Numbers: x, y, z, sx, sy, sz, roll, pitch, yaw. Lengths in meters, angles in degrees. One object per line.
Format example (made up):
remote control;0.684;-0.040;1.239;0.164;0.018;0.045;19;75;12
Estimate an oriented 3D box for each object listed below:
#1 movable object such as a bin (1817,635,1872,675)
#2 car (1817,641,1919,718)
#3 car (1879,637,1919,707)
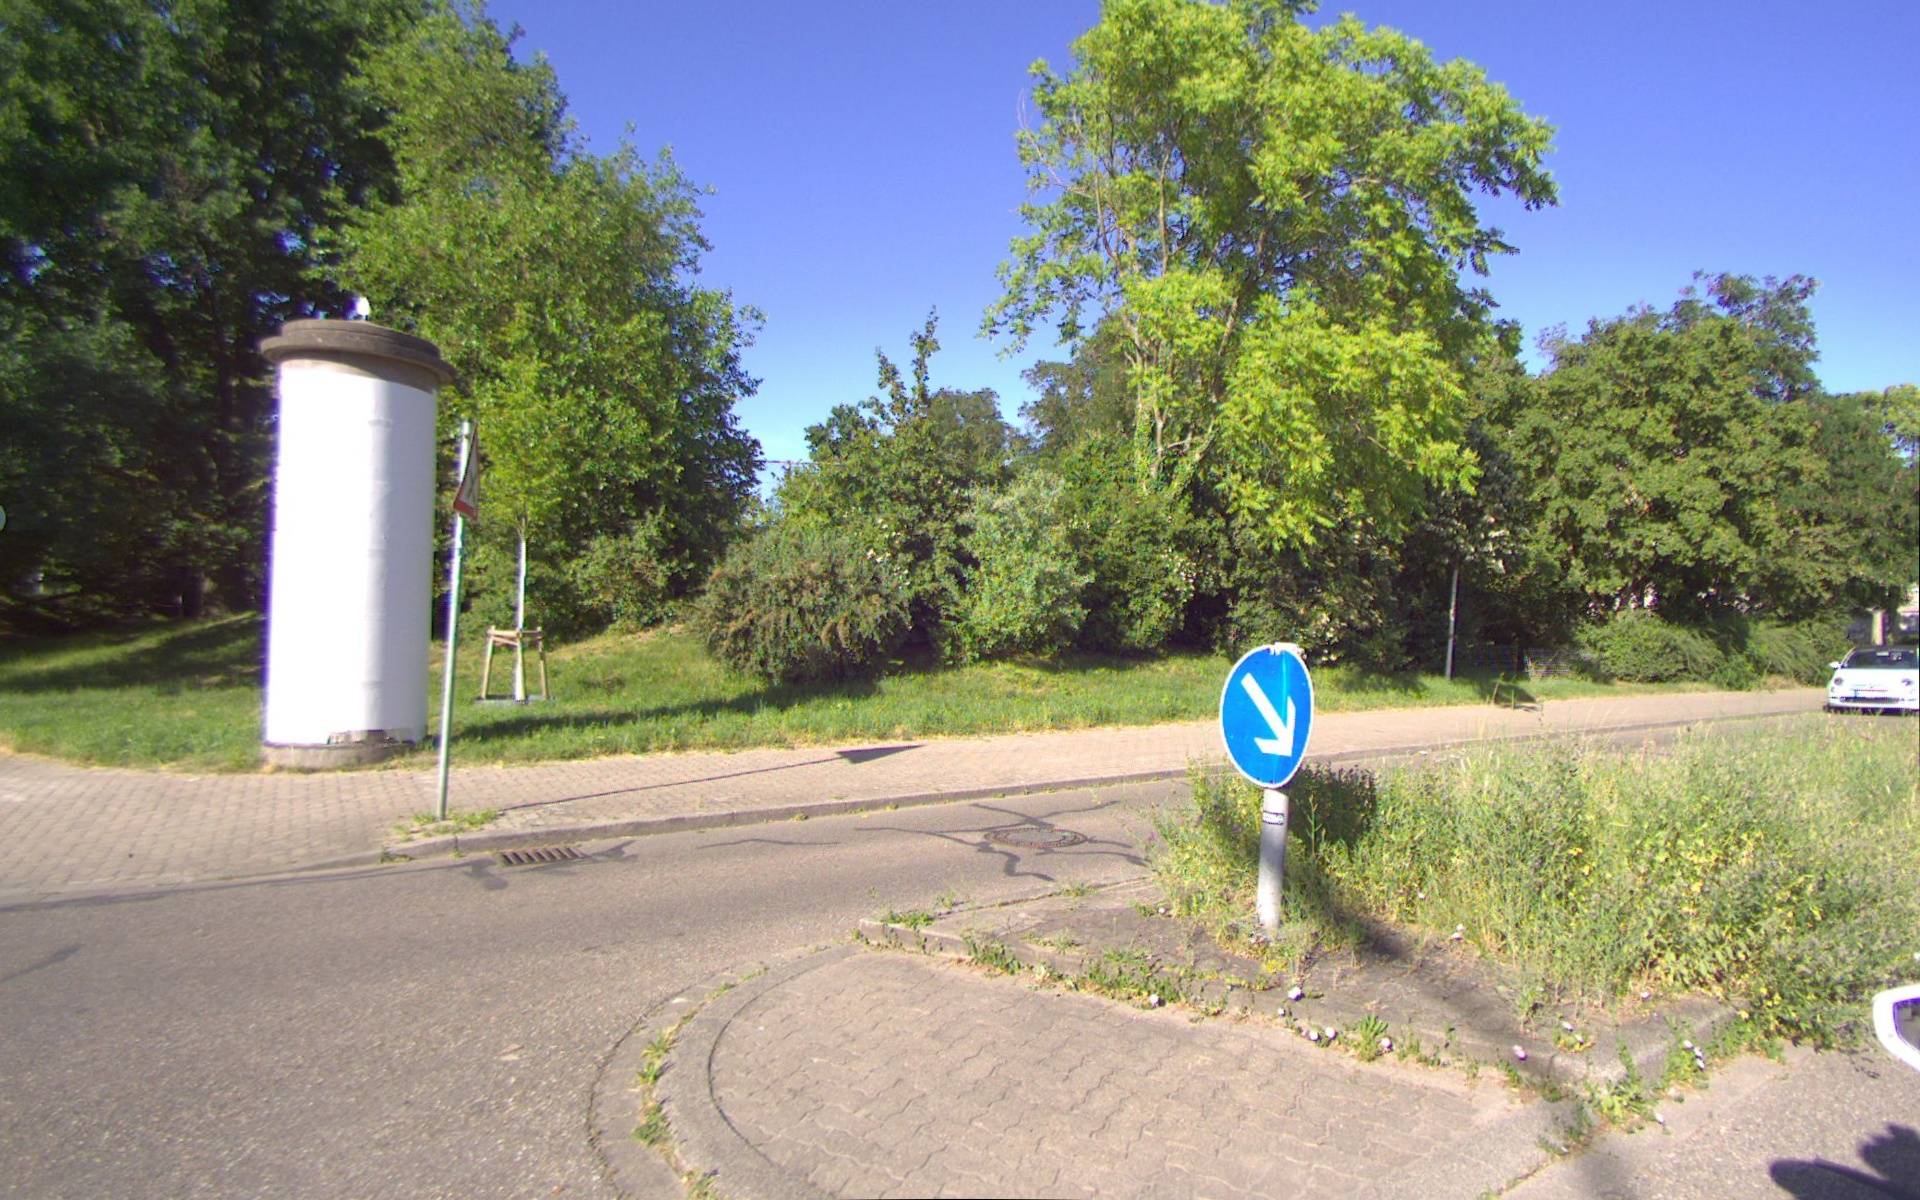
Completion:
movable object such as a bin;32.888;2.041;37.368;1.249;1.420;1.268;2;-2;-34
car;20.502;1.707;22.309;3.390;1.547;1.613;2;-2;-39
car;24.666;1.767;24.969;4.205;1.660;1.665;2;-3;-33
